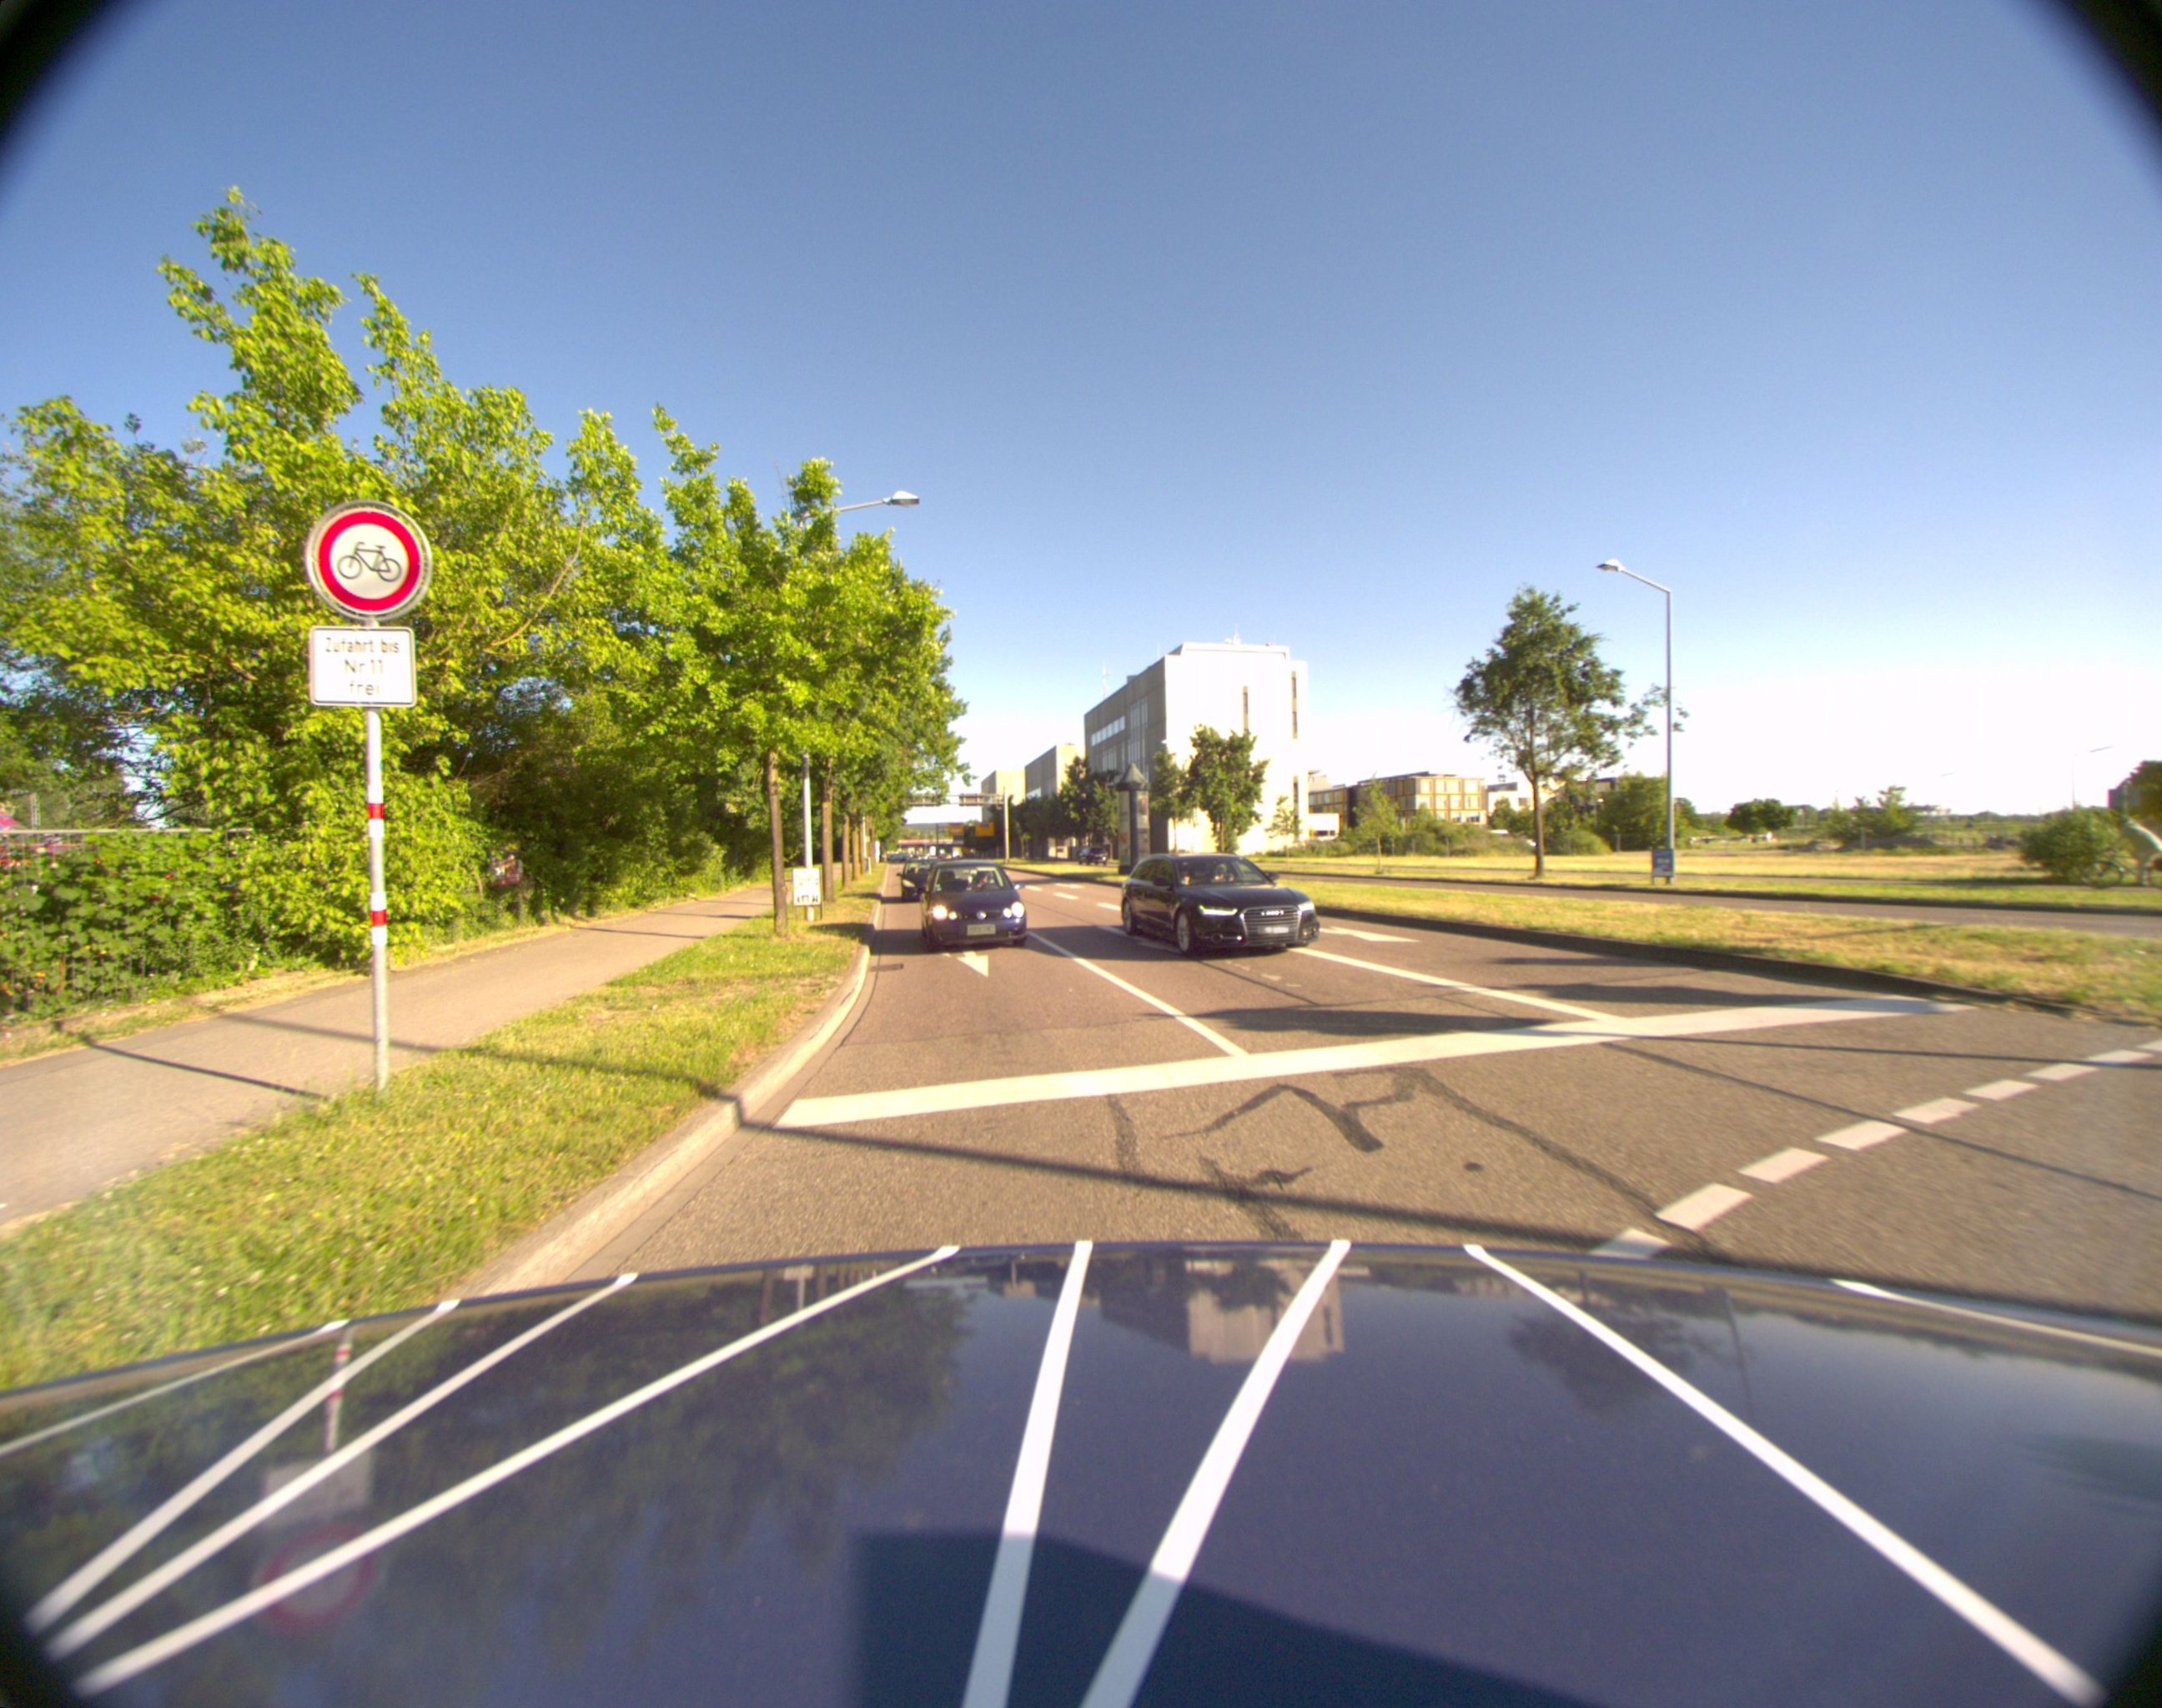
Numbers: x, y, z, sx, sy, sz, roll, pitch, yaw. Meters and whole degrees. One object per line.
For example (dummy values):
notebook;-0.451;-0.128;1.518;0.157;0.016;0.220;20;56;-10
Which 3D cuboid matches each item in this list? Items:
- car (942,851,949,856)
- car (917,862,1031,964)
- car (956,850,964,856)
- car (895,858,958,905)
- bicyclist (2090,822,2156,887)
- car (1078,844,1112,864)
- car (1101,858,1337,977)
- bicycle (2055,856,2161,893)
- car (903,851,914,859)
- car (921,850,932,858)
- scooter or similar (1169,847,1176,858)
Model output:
car;-43.207;-0.163;242.251;2.001;1.569;3.995;-1;1;-14
car;-2.126;0.935;14.054;1.639;1.459;4.540;-2;1;-13
car;-35.420;-0.271;221.836;2.001;1.569;3.995;-1;1;-14
car;-5.670;0.922;27.569;1.759;1.446;3.993;-4;1;-18
bicyclist;25.679;0.015;18.731;0.433;1.555;0.851;-1;1;-9
car;1.234;-0.059;70.745;2.001;1.729;4.731;-1;1;-14
car;1.879;0.811;12.222;1.799;1.435;5.011;-2;0;-14
bicycle;25.673;0.483;18.829;0.491;0.847;1.887;-1;0;-9
car;-34.938;0.175;153.989;2.000;1.678;3.996;-1;1;-10
car;-31.677;-0.053;156.208;2.000;1.678;3.996;-1;1;-10
scooter or similar;9.543;-0.173;79.283;0.454;1.104;1.406;-1;1;0
